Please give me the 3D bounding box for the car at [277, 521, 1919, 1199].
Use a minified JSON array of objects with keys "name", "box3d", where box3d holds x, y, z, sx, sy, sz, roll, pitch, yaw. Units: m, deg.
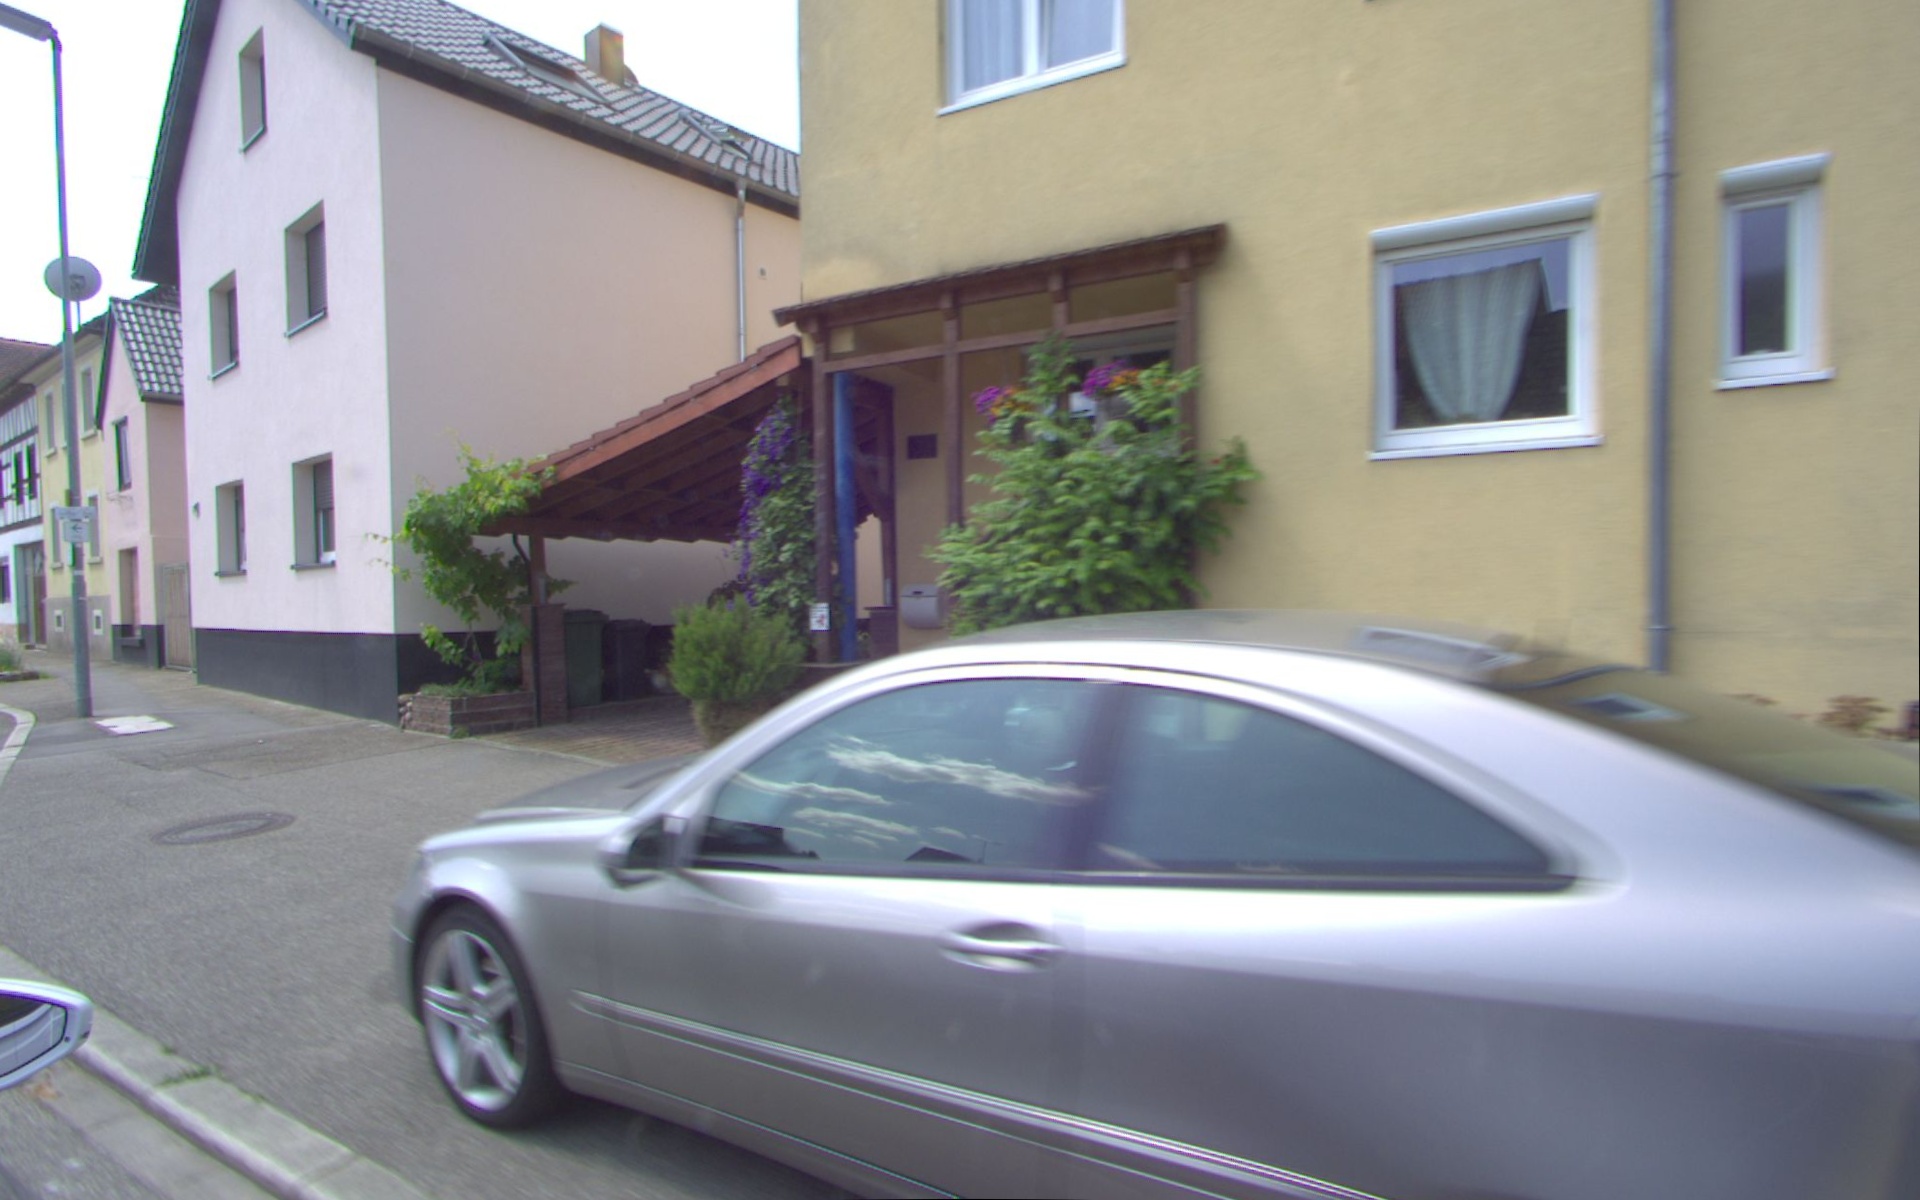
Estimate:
[{"name":"car","box3d":[0.108,0.629,2.761,4.365,1.419,1.764,-2,2,34]}]
